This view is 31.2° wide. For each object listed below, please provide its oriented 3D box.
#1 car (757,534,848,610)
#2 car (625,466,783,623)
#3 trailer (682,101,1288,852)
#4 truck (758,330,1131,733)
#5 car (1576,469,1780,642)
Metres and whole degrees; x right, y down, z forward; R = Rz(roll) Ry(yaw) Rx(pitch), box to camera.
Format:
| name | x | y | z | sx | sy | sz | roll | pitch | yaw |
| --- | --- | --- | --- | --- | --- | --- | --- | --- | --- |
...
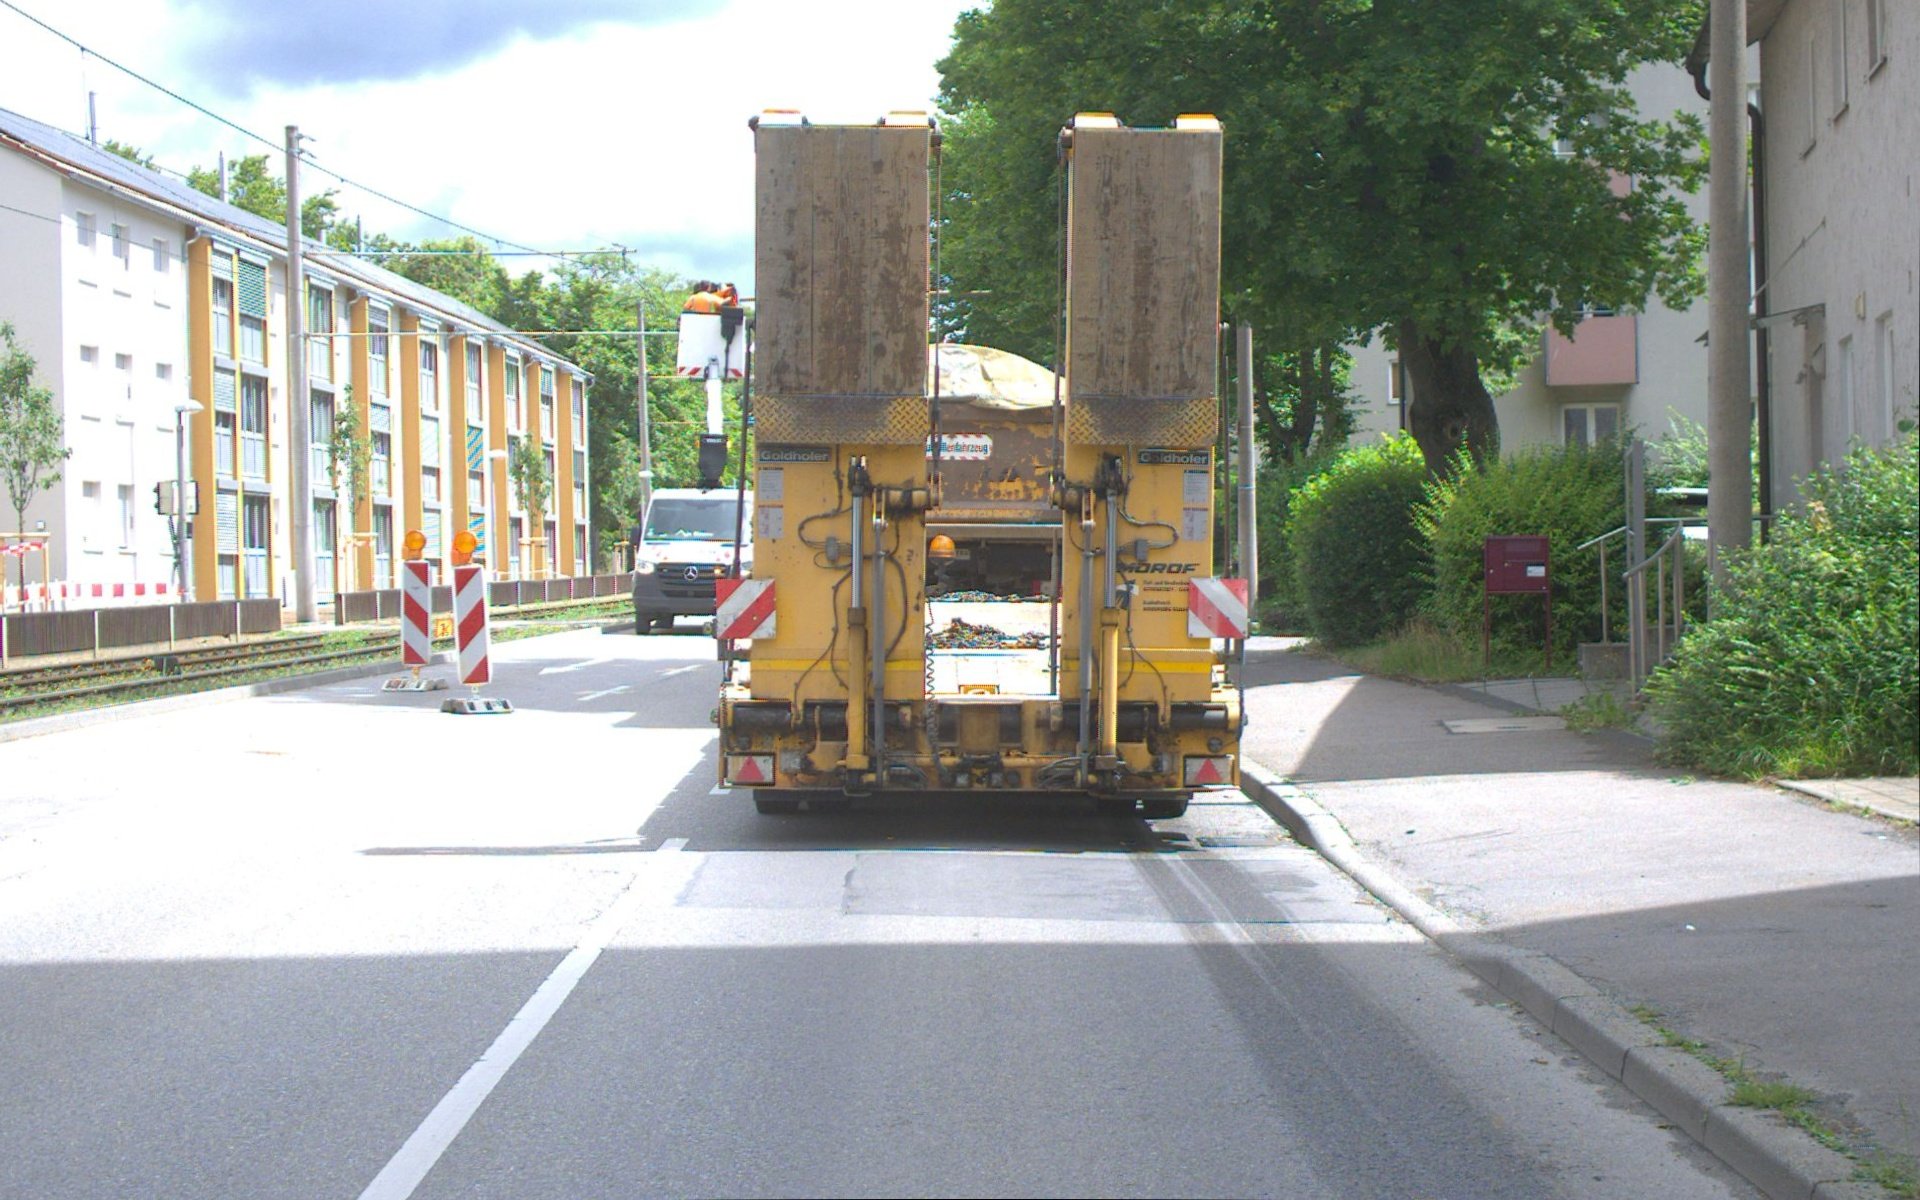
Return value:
| name | x | y | z | sx | sy | sz | roll | pitch | yaw |
| --- | --- | --- | --- | --- | --- | --- | --- | --- | --- |
| car | -3.278 | -0.602 | 72.156 | 1.718 | 1.547 | 3.917 | 0 | 1 | 0 |
| car | -4.121 | -0.921 | 56.328 | 1.993 | 2.422 | 6.322 | 0 | 1 | 1 |
| trailer | -0.021 | -0.669 | 21.771 | 2.822 | 3.512 | 11.053 | 1 | 1 | -1 |
| truck | -0.240 | -0.605 | 31.123 | 2.917 | 3.156 | 7.681 | 1 | 1 | -2 |
| car | 7.424 | -0.457 | 35.832 | 1.812 | 1.644 | 3.999 | -2 | 0 | 9 |
